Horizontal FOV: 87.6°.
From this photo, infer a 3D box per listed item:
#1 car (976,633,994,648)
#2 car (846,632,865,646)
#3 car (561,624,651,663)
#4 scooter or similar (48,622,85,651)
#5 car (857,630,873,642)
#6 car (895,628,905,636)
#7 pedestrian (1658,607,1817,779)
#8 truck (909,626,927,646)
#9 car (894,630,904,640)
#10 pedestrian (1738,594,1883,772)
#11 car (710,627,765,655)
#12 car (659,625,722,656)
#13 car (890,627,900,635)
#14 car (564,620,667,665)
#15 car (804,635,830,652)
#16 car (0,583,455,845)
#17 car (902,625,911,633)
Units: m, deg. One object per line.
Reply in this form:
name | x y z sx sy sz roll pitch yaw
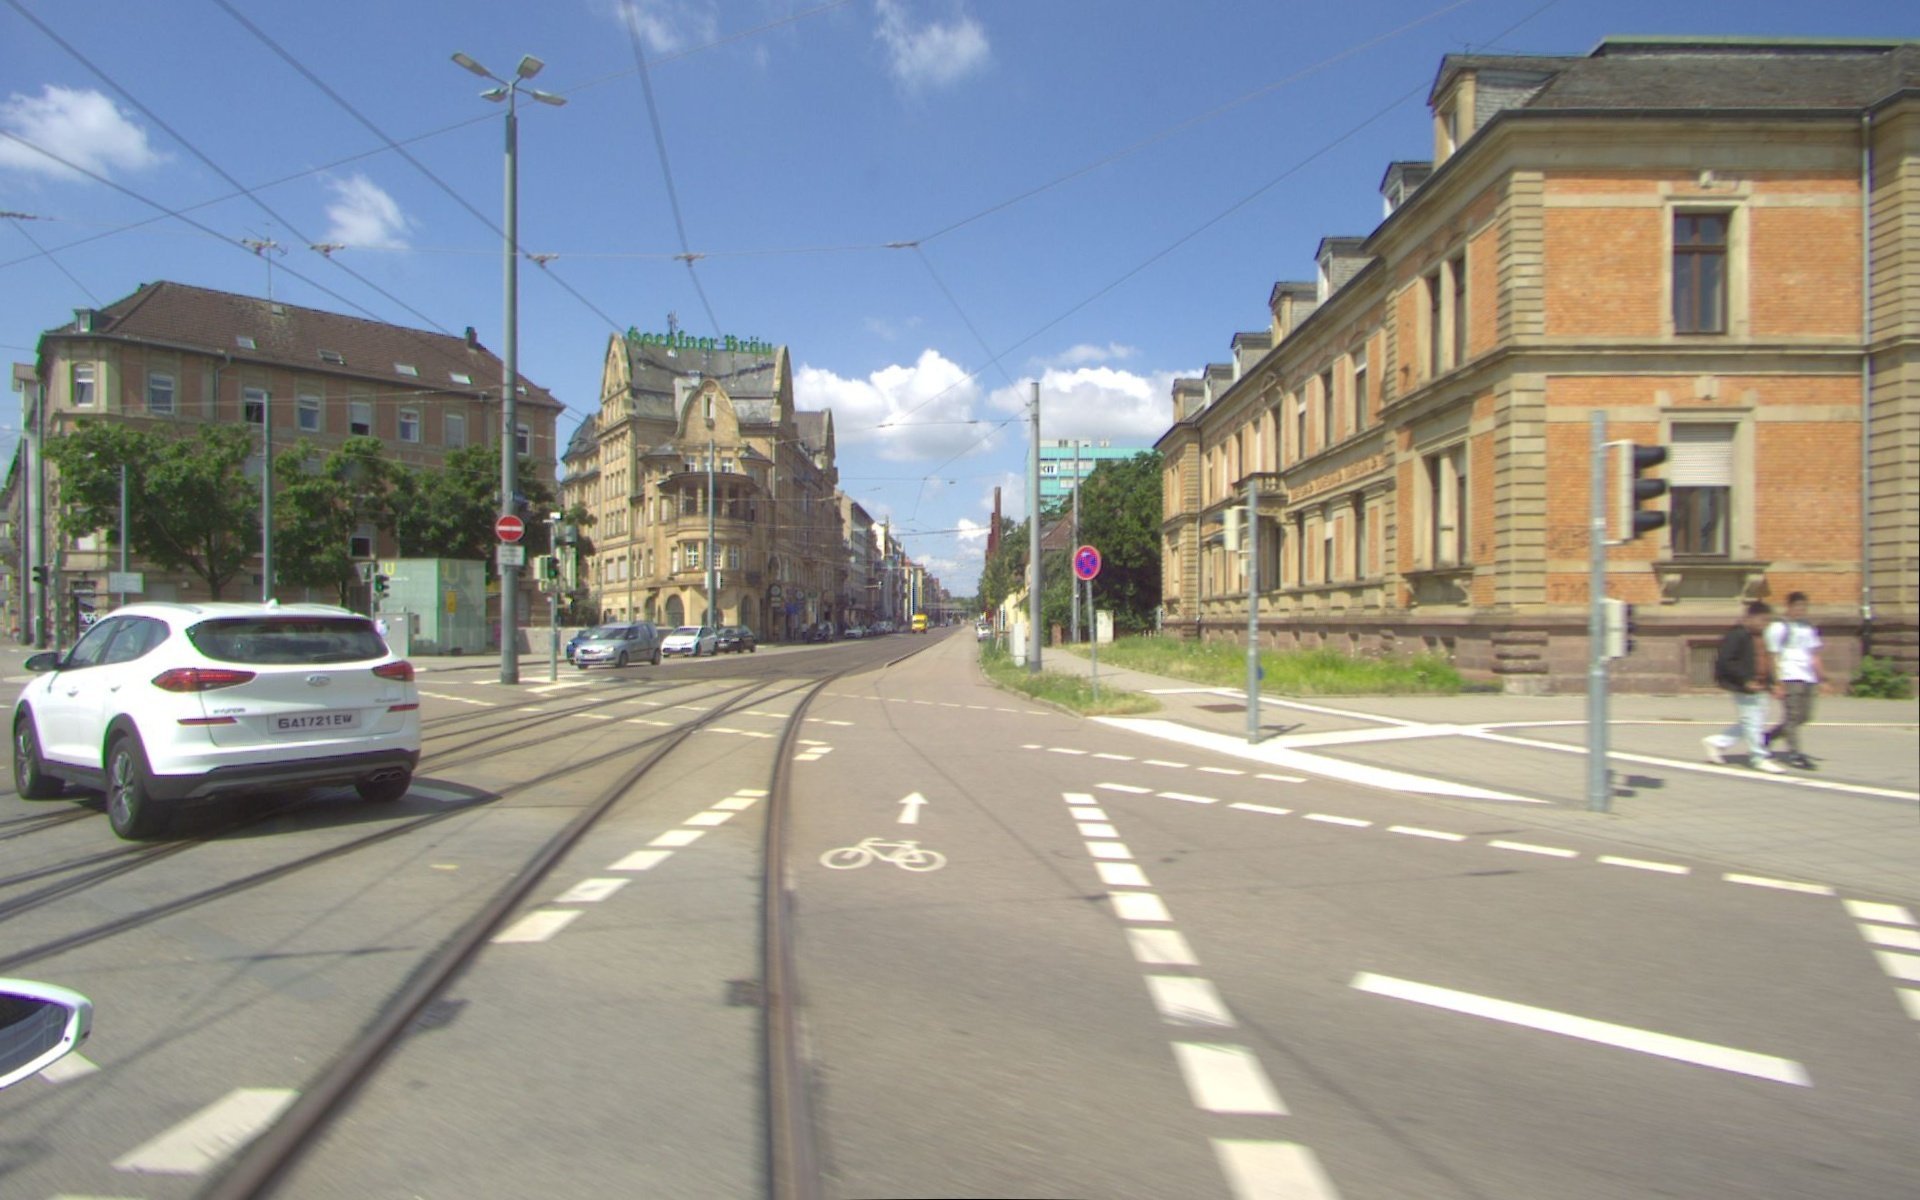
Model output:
car | 2.496 4.018 99.310 1.690 1.492 4.141 0 -2 2
car | -11.998 4.488 115.253 1.690 1.492 4.141 0 -2 0
car | -14.344 1.746 40.863 1.690 1.492 4.140 0 -2 9
scooter or similar | -37.808 1.574 42.381 0.375 1.188 1.522 0 -3 -8
car | -12.007 4.607 127.105 1.690 1.492 4.141 0 -2 0
car | -11.318 5.957 188.639 1.690 1.492 4.141 0 -2 0
pedestrian | 8.086 0.930 10.456 0.847 1.679 0.967 -2 0 -4
truck | -6.388 5.432 152.620 2.513 2.965 7.113 0 -2 0
car | -11.853 6.913 195.396 1.690 1.904 4.141 0 -2 0
pedestrian | 8.930 0.847 10.545 0.847 1.774 0.757 -2 0 -4
car | -12.626 2.314 57.026 1.690 1.492 4.140 0 -2 9
car | -13.516 2.010 50.428 1.690 1.492 4.141 0 -2 5
car | -11.683 5.590 180.394 1.690 1.492 4.141 0 -2 0
car | -12.048 1.482 35.325 1.690 1.492 4.140 0 -2 9
car | -12.803 3.863 89.861 1.690 1.492 4.141 0 -2 0
car | -6.234 0.786 8.361 4.176 1.662 1.876 -1 -2 36
car | -11.444 6.195 213.226 1.690 1.492 4.141 0 -2 0
